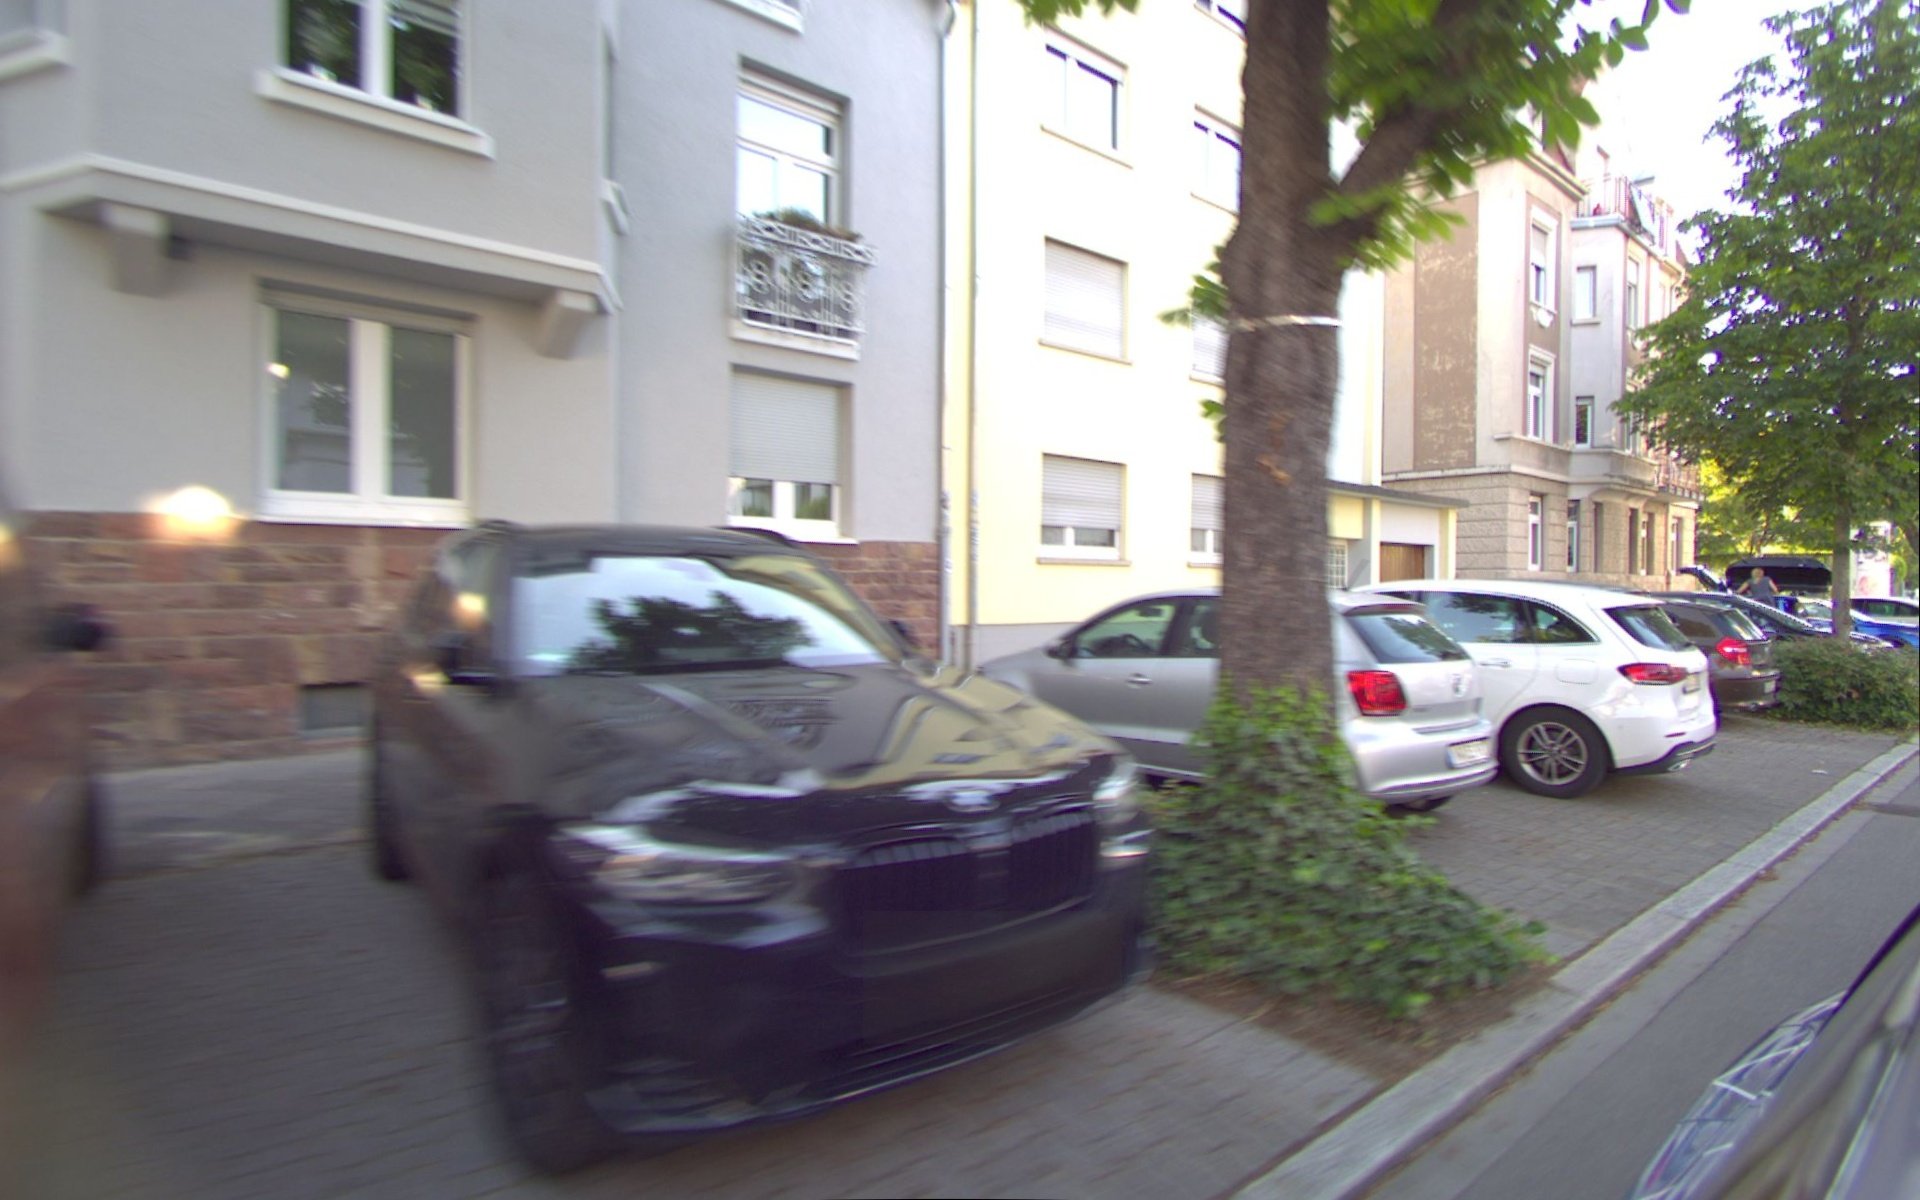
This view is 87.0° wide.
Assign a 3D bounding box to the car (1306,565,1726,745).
[{"bbox_3d":[5.890,0.455,11.052,1.646,1.618,3.679,0,1,-40],"label":"car"}]

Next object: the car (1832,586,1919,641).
[{"bbox_3d":[27.021,0.378,28.276,1.573,1.504,3.824,0,1,-40],"label":"car"}]

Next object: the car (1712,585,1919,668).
[{"bbox_3d":[17.428,0.465,20.037,1.573,1.504,3.824,0,1,-40],"label":"car"}]

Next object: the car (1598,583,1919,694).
[{"bbox_3d":[12.462,0.503,15.916,1.573,1.504,3.824,0,1,-40],"label":"car"}]

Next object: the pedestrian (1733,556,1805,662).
[{"bbox_3d":[16.132,0.168,20.181,0.964,2.039,0.998,0,0,-43],"label":"pedestrian"}]

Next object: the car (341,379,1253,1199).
[{"bbox_3d":[-1.160,0.453,3.905,1.758,1.726,4.211,0,1,-36],"label":"car"}]

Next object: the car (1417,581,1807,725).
[{"bbox_3d":[7.721,0.508,12.253,1.573,1.460,3.679,0,1,-40],"label":"car"}]

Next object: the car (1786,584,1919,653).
[{"bbox_3d":[21.577,0.406,23.359,3.815,1.504,1.577,1,1,43],"label":"car"}]

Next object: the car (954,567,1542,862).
[{"bbox_3d":[1.732,0.535,7.012,1.588,1.480,3.679,0,1,-40],"label":"car"}]

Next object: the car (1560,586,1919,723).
[{"bbox_3d":[9.949,0.569,12.882,1.573,1.460,3.679,0,1,-40],"label":"car"}]

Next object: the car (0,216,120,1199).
[{"bbox_3d":[-3.429,0.357,2.508,1.914,1.961,4.820,0,1,-38],"label":"car"}]

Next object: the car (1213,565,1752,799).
[{"bbox_3d":[4.142,0.490,8.482,1.646,1.516,3.679,0,1,-40],"label":"car"}]
